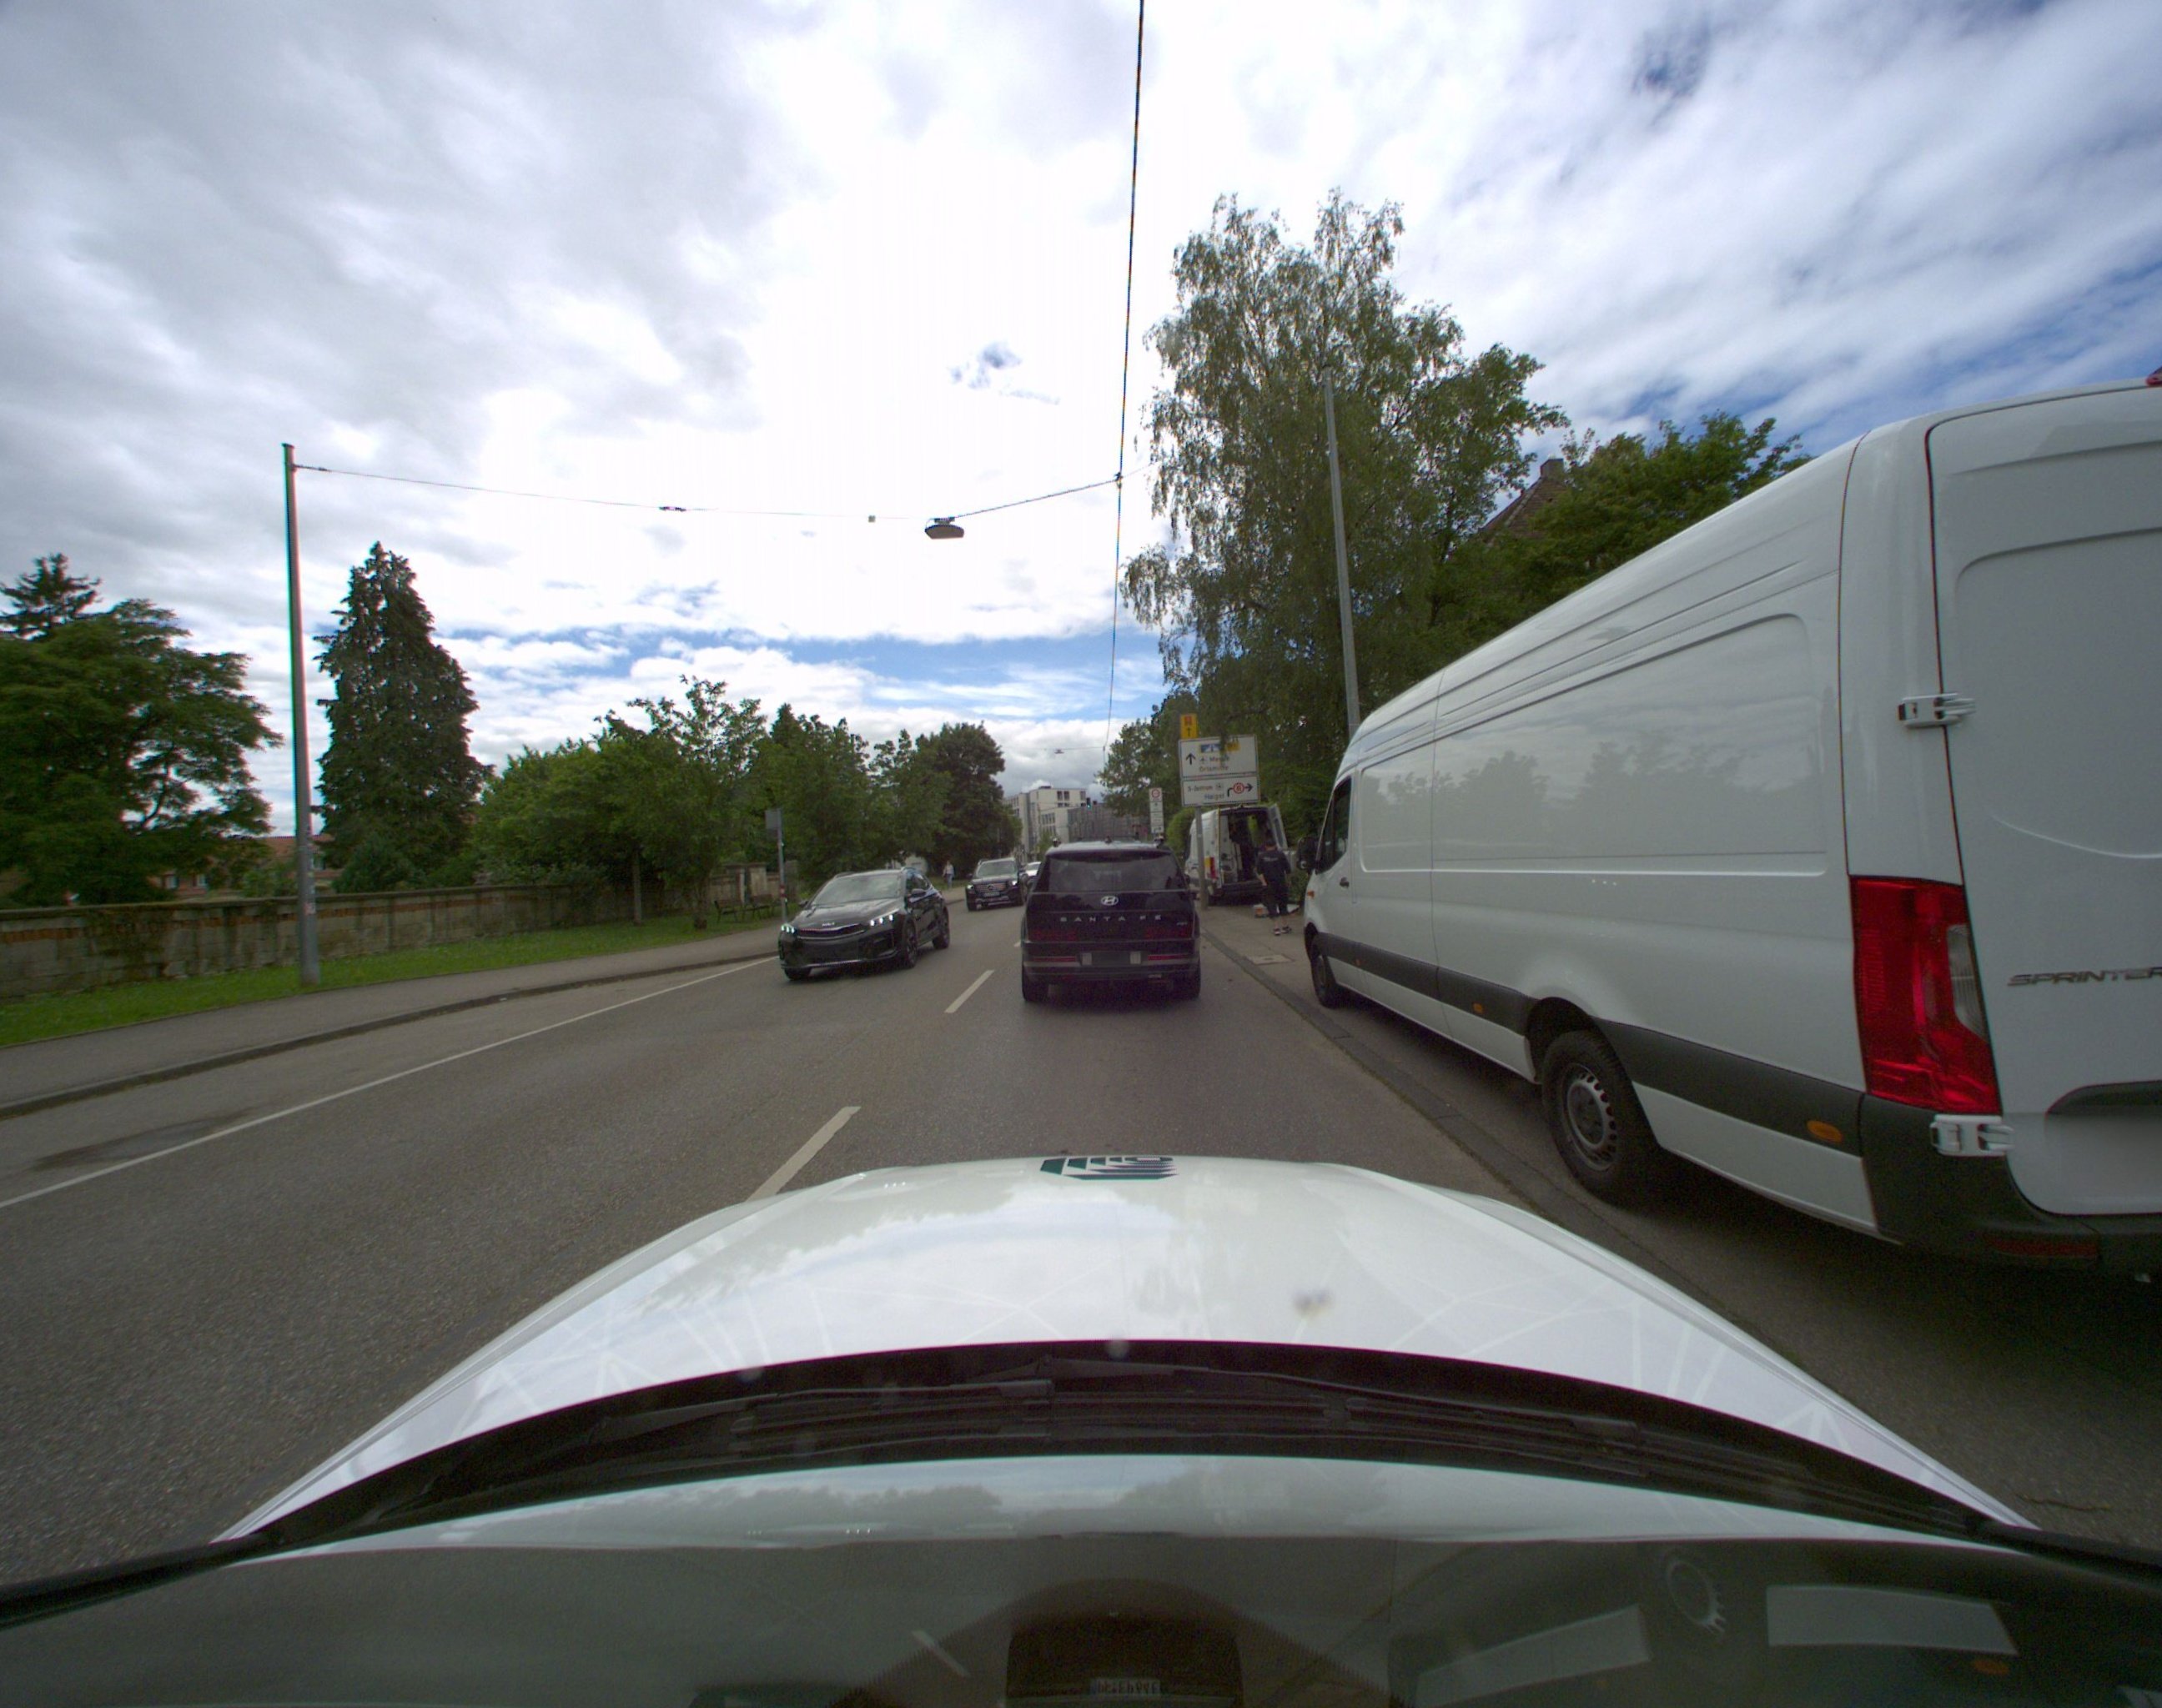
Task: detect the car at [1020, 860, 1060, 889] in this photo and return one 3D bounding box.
[{"bbox_3d":[-2.292,1.164,47.168,1.808,1.419,4.830,-6,-1,2],"label":"car"}]

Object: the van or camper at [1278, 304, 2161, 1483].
[{"bbox_3d":[3.040,0.038,5.113,1.983,2.625,6.547,-6,-1,2],"label":"van or camper"}]

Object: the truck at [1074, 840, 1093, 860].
[{"bbox_3d":[0.534,-0.846,170.564,3.101,3.859,9.607,-3,0,-4],"label":"truck"}]

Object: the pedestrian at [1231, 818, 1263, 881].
[{"bbox_3d":[4.521,-0.113,22.210,0.732,1.643,0.803,-4,-1,11],"label":"pedestrian"}]

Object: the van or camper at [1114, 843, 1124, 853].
[{"bbox_3d":[7.892,-1.251,170.658,1.791,1.999,3.821,0,-1,-2],"label":"van or camper"}]

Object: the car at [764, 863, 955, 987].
[{"bbox_3d":[-3.264,0.969,12.845,1.695,1.483,4.001,-5,-1,2],"label":"car"}]

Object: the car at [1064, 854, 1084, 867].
[{"bbox_3d":[-0.875,0.773,100.801,1.828,1.538,4.276,-3,0,7],"label":"car"}]

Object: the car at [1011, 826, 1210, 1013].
[{"bbox_3d":[0.343,0.641,9.754,1.890,1.776,3.995,0,0,2],"label":"car"}]

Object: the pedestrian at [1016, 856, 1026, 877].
[{"bbox_3d":[-5.645,1.177,76.594,0.826,2.014,1.048,0,-1,4],"label":"pedestrian"}]

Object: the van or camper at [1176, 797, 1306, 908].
[{"bbox_3d":[4.321,0.027,23.388,2.332,2.494,6.604,-6,-1,1],"label":"van or camper"}]

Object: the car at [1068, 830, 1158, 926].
[{"bbox_3d":[0.741,0.526,19.249,1.890,2.042,3.995,0,-1,2],"label":"car"}]

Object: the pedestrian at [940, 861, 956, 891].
[{"bbox_3d":[-7.868,1.271,48.210,0.764,1.748,0.904,-2,-1,1],"label":"pedestrian"}]

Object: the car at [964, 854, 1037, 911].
[{"bbox_3d":[-2.675,0.931,27.982,1.873,1.644,4.129,-5,-1,1],"label":"car"}]

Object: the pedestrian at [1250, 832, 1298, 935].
[{"bbox_3d":[3.364,0.498,14.175,0.744,1.721,0.795,-2,0,14],"label":"pedestrian"}]

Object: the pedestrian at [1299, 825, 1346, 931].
[{"bbox_3d":[4.134,0.412,13.939,0.642,1.751,0.658,-3,-1,20],"label":"pedestrian"}]

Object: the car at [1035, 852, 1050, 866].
[{"bbox_3d":[-6.765,0.830,142.426,2.328,2.315,4.950,-3,0,-4],"label":"car"}]
